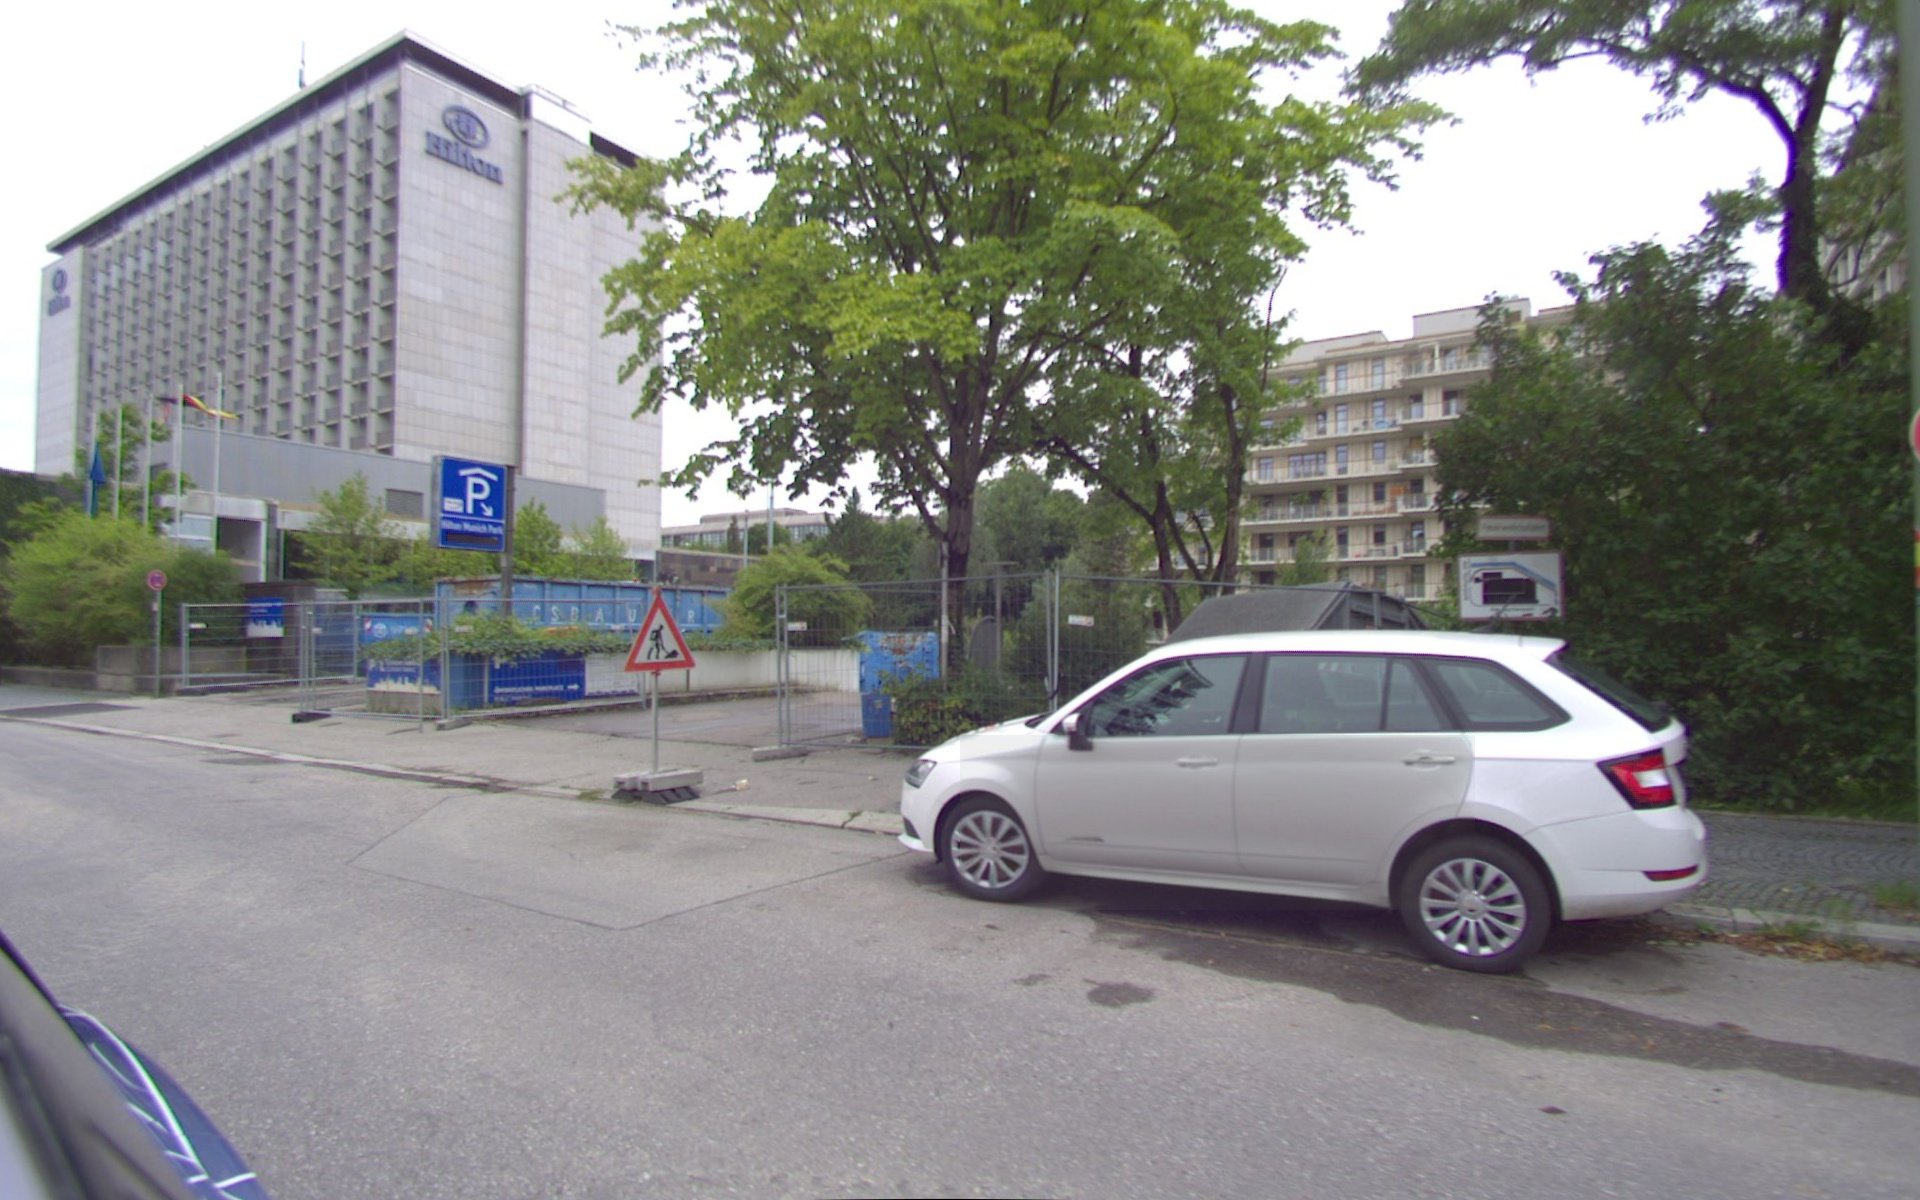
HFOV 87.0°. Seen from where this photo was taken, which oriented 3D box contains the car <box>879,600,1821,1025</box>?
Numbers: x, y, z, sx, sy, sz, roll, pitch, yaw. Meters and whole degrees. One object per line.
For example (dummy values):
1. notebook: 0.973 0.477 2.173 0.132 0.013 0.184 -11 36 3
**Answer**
1. car: 1.784 0.860 5.608 4.241 1.561 1.763 -1 -3 31
